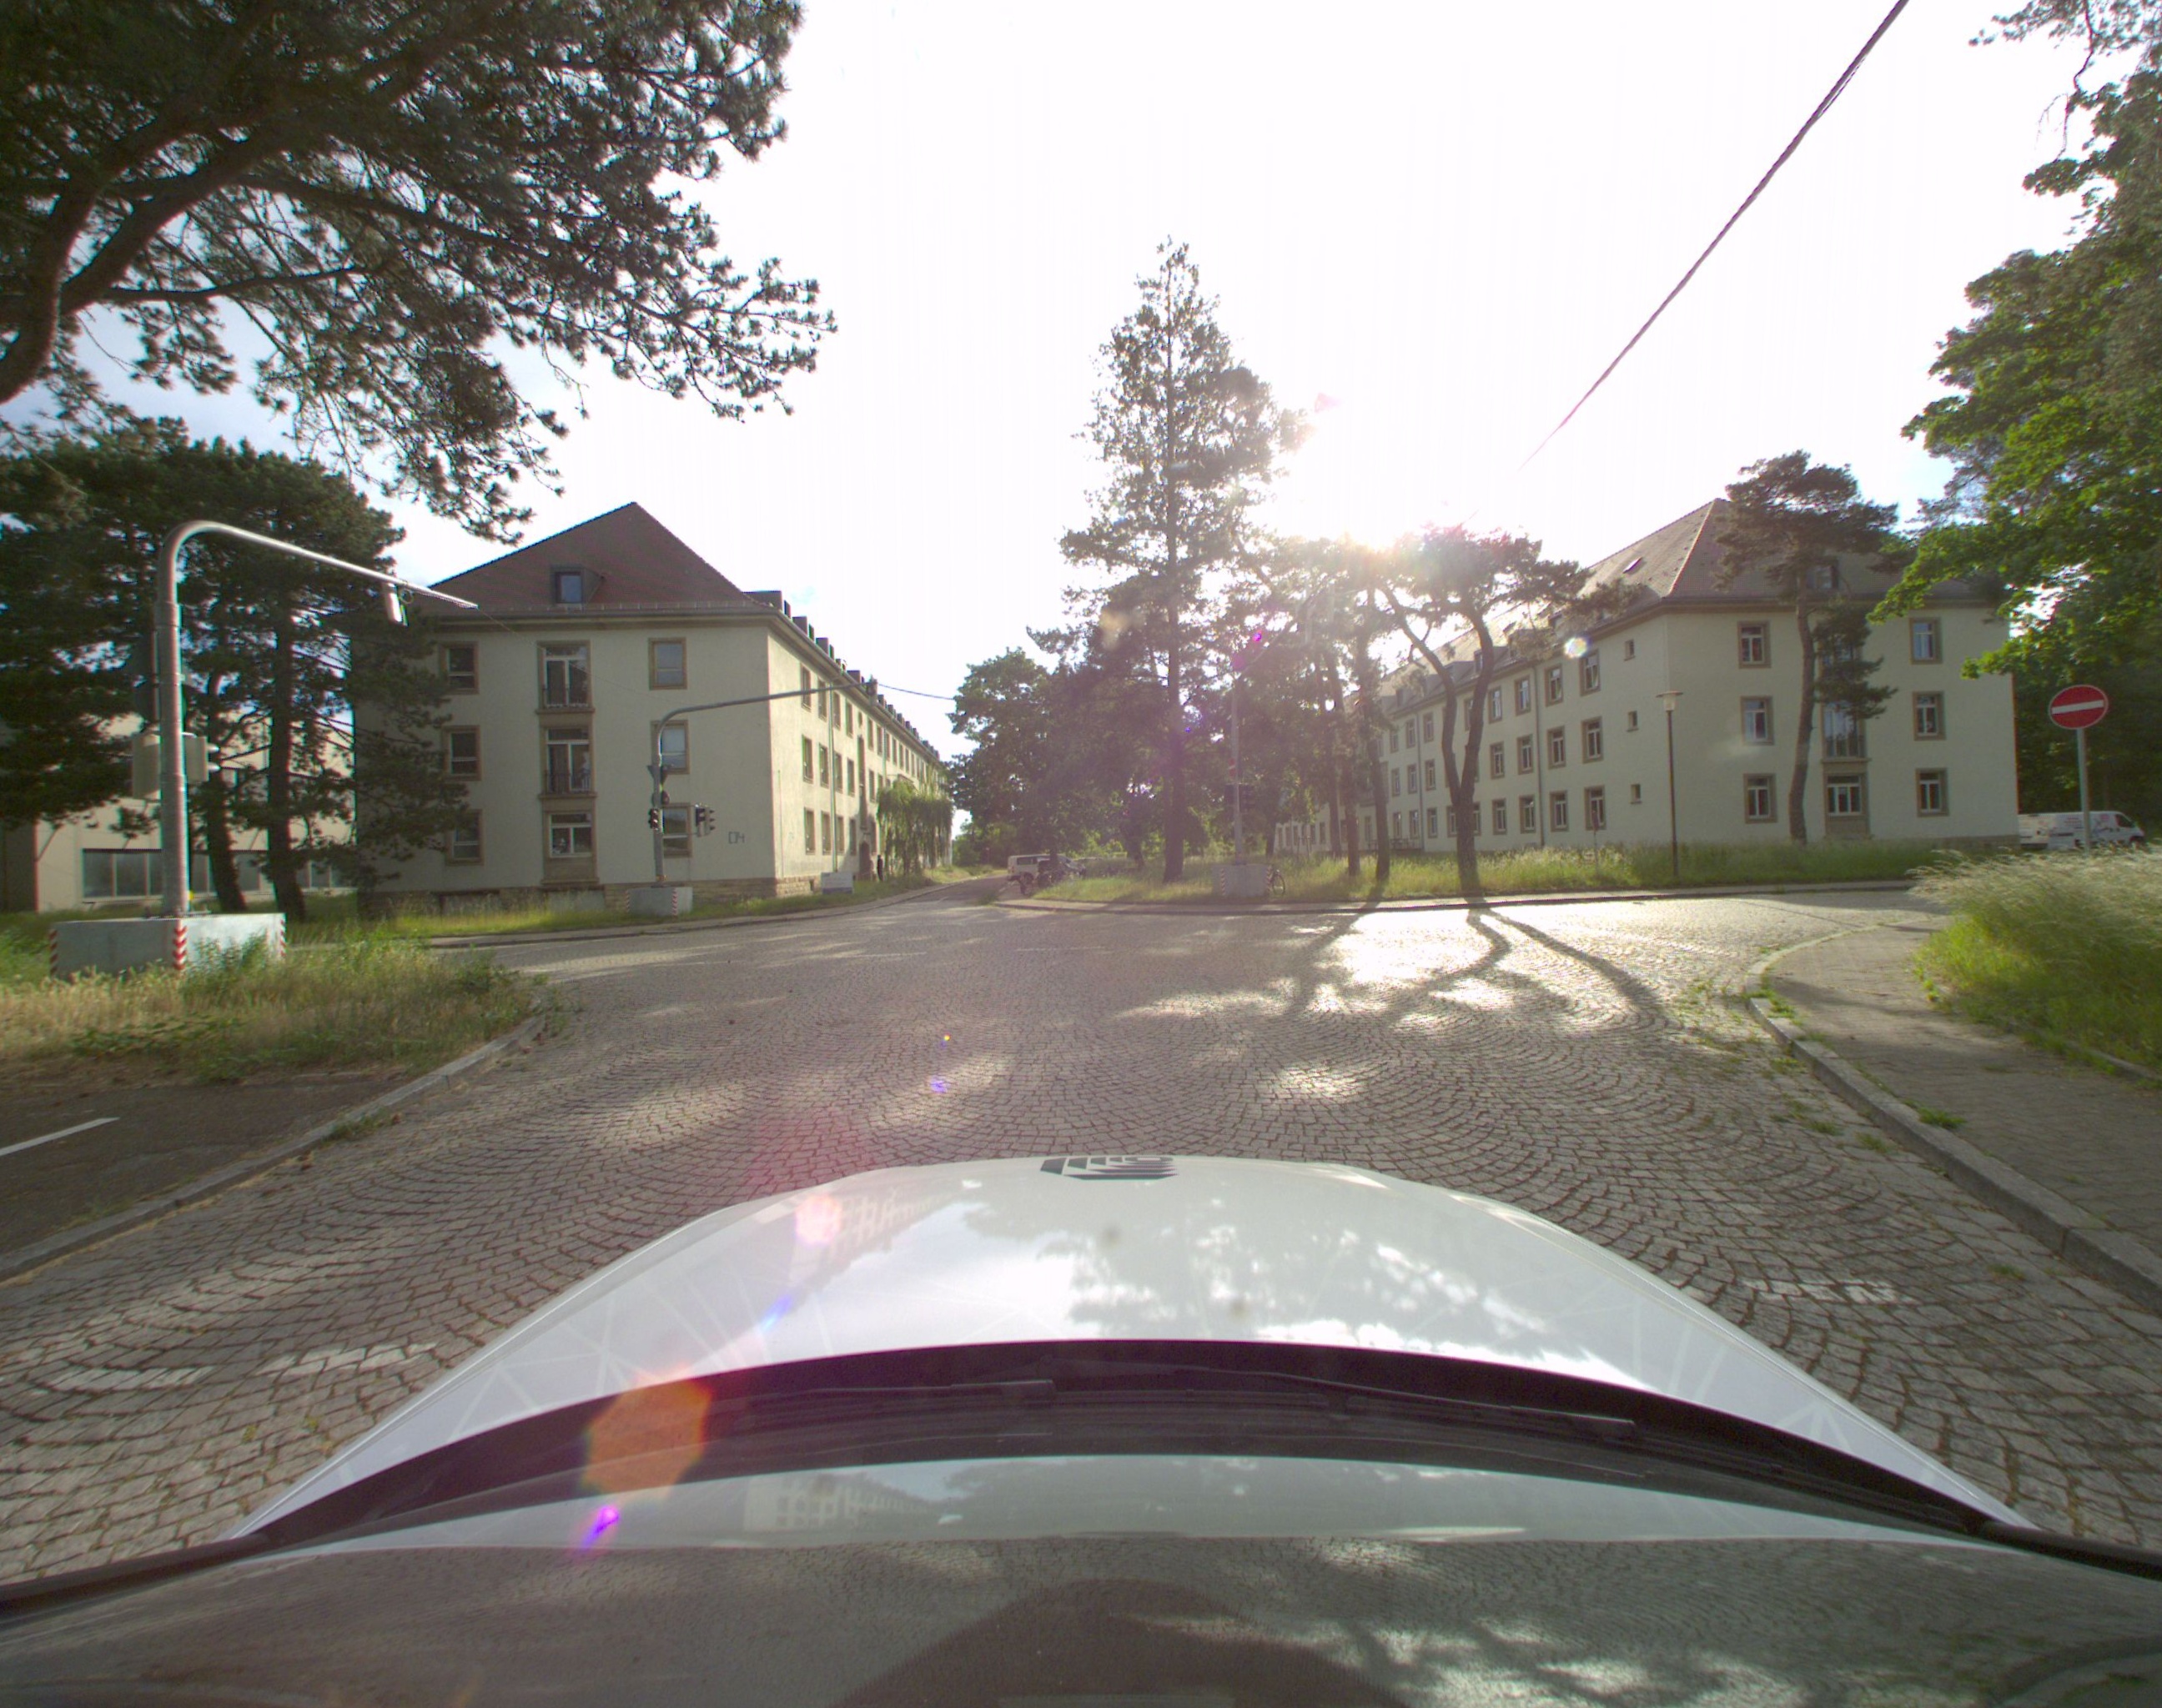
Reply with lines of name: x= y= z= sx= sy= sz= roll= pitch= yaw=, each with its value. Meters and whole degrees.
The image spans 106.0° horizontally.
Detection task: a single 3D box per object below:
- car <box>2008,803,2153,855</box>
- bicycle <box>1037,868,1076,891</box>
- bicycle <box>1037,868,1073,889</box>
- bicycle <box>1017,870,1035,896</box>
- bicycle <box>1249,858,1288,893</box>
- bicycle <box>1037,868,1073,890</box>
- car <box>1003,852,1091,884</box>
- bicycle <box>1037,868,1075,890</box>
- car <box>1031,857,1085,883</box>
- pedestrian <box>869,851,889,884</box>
car: x=53.887 y=-1.331 z=43.969 sx=5.145 sy=2.536 sz=2.262 roll=-2 pitch=-1 yaw=-2
bicycle: x=-1.157 y=1.190 z=38.489 sx=1.789 sy=0.999 sz=0.643 roll=-2 pitch=0 yaw=-5
bicycle: x=-1.350 y=1.242 z=41.739 sx=1.789 sy=0.999 sz=0.643 roll=-2 pitch=0 yaw=-5
bicycle: x=-2.342 y=1.211 z=34.820 sx=0.726 sy=0.999 sz=1.797 roll=-2 pitch=1 yaw=-3
bicycle: x=5.689 y=0.639 z=24.742 sx=0.562 sy=0.999 sz=1.748 roll=-2 pitch=1 yaw=-7
bicycle: x=-1.320 y=1.232 z=41.001 sx=1.789 sy=0.999 sz=0.643 roll=-2 pitch=0 yaw=-5
car: x=-2.278 y=0.947 z=54.371 sx=5.514 sy=1.916 sz=2.241 roll=-2 pitch=-1 yaw=-17
bicycle: x=-1.210 y=1.208 z=39.507 sx=1.789 sy=0.999 sz=0.643 roll=-2 pitch=0 yaw=-5
car: x=-1.429 y=0.996 z=50.854 sx=3.038 sy=1.465 sz=1.710 roll=-2 pitch=-2 yaw=-16
pedestrian: x=-12.446 y=0.849 z=50.144 sx=0.983 sy=1.963 sz=0.931 roll=-2 pitch=-1 yaw=-4
